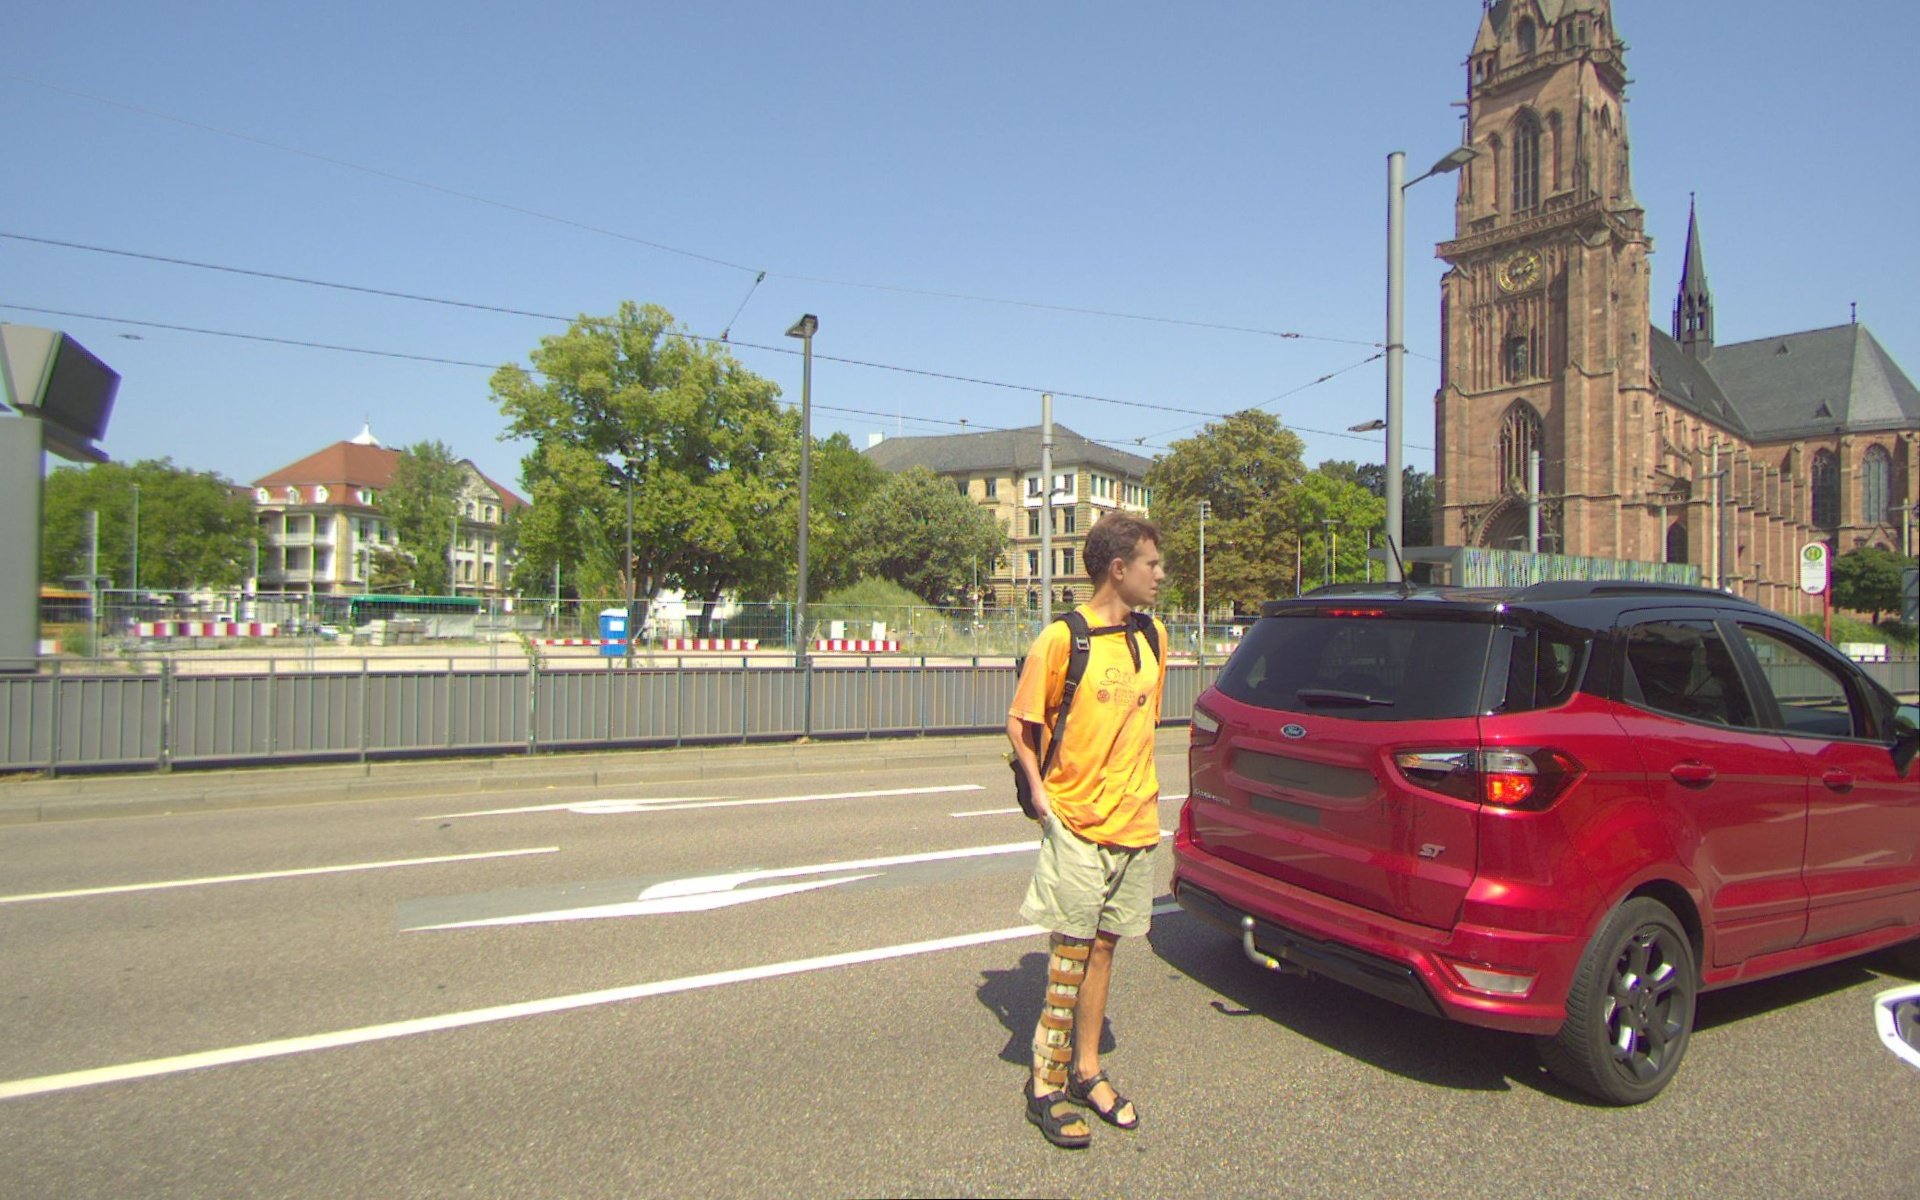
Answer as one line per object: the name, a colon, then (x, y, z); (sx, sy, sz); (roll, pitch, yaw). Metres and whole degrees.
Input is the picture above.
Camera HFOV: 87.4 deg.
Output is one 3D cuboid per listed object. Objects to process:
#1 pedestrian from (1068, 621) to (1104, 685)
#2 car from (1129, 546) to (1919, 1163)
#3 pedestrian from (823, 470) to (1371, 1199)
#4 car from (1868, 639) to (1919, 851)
pedestrian: (3.633, 1.512, 28.962); (0.752, 1.811, 0.741); (1, -2, -27)
car: (2.810, 0.732, 4.310); (3.917, 1.642, 1.624); (2, -1, -27)
pedestrian: (0.403, 0.609, 2.887); (1.219, 1.764, 0.964); (1, -1, 36)
car: (8.449, 1.046, 7.248); (3.755, 1.432, 1.681); (2, -1, -29)
